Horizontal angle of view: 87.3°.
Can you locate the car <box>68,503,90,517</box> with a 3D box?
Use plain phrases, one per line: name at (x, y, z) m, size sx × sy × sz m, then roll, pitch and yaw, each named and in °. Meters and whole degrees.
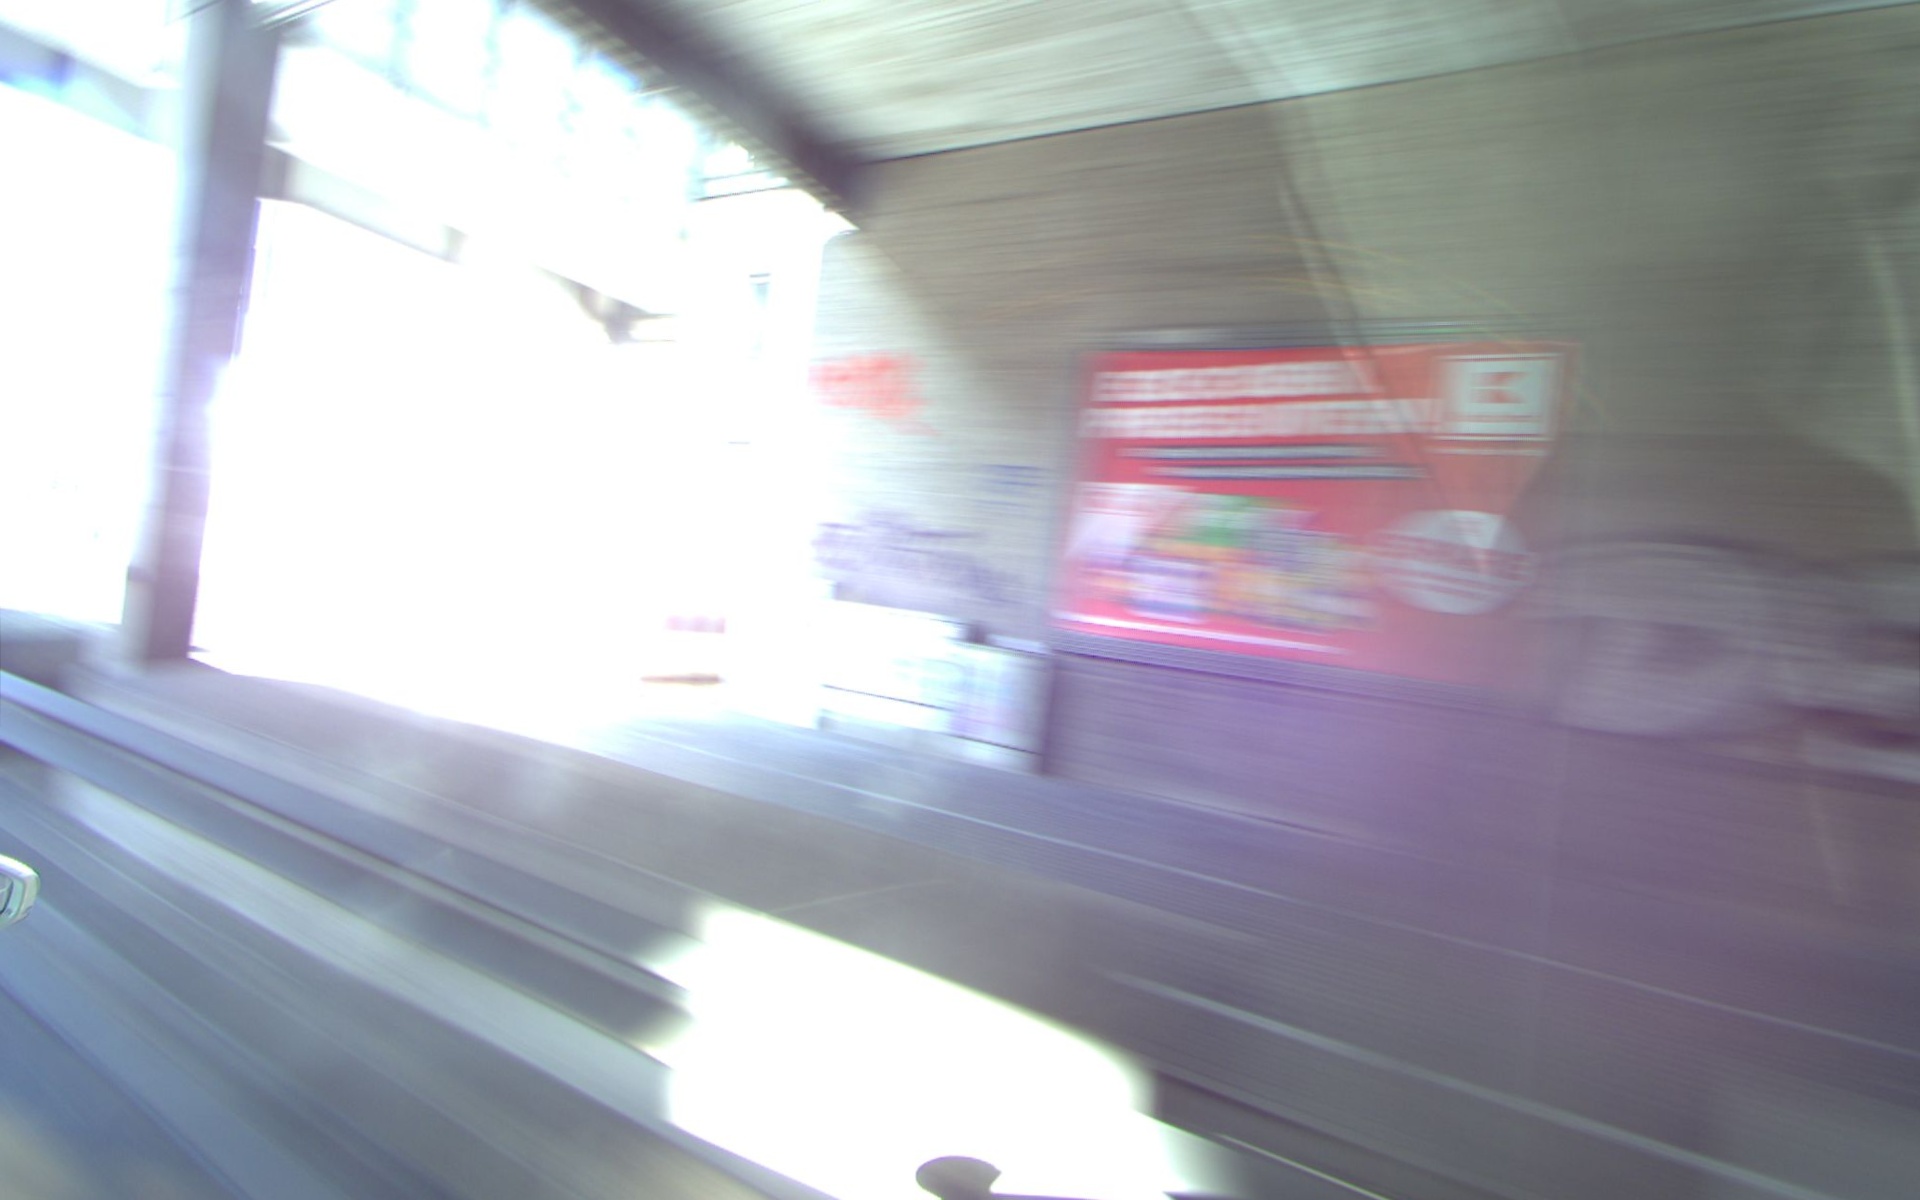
car at (-124.974, -12.730, 142.780) m, size 1.985 × 1.681 × 4.449 m, roll 9°, pitch -1°, yaw -39°
